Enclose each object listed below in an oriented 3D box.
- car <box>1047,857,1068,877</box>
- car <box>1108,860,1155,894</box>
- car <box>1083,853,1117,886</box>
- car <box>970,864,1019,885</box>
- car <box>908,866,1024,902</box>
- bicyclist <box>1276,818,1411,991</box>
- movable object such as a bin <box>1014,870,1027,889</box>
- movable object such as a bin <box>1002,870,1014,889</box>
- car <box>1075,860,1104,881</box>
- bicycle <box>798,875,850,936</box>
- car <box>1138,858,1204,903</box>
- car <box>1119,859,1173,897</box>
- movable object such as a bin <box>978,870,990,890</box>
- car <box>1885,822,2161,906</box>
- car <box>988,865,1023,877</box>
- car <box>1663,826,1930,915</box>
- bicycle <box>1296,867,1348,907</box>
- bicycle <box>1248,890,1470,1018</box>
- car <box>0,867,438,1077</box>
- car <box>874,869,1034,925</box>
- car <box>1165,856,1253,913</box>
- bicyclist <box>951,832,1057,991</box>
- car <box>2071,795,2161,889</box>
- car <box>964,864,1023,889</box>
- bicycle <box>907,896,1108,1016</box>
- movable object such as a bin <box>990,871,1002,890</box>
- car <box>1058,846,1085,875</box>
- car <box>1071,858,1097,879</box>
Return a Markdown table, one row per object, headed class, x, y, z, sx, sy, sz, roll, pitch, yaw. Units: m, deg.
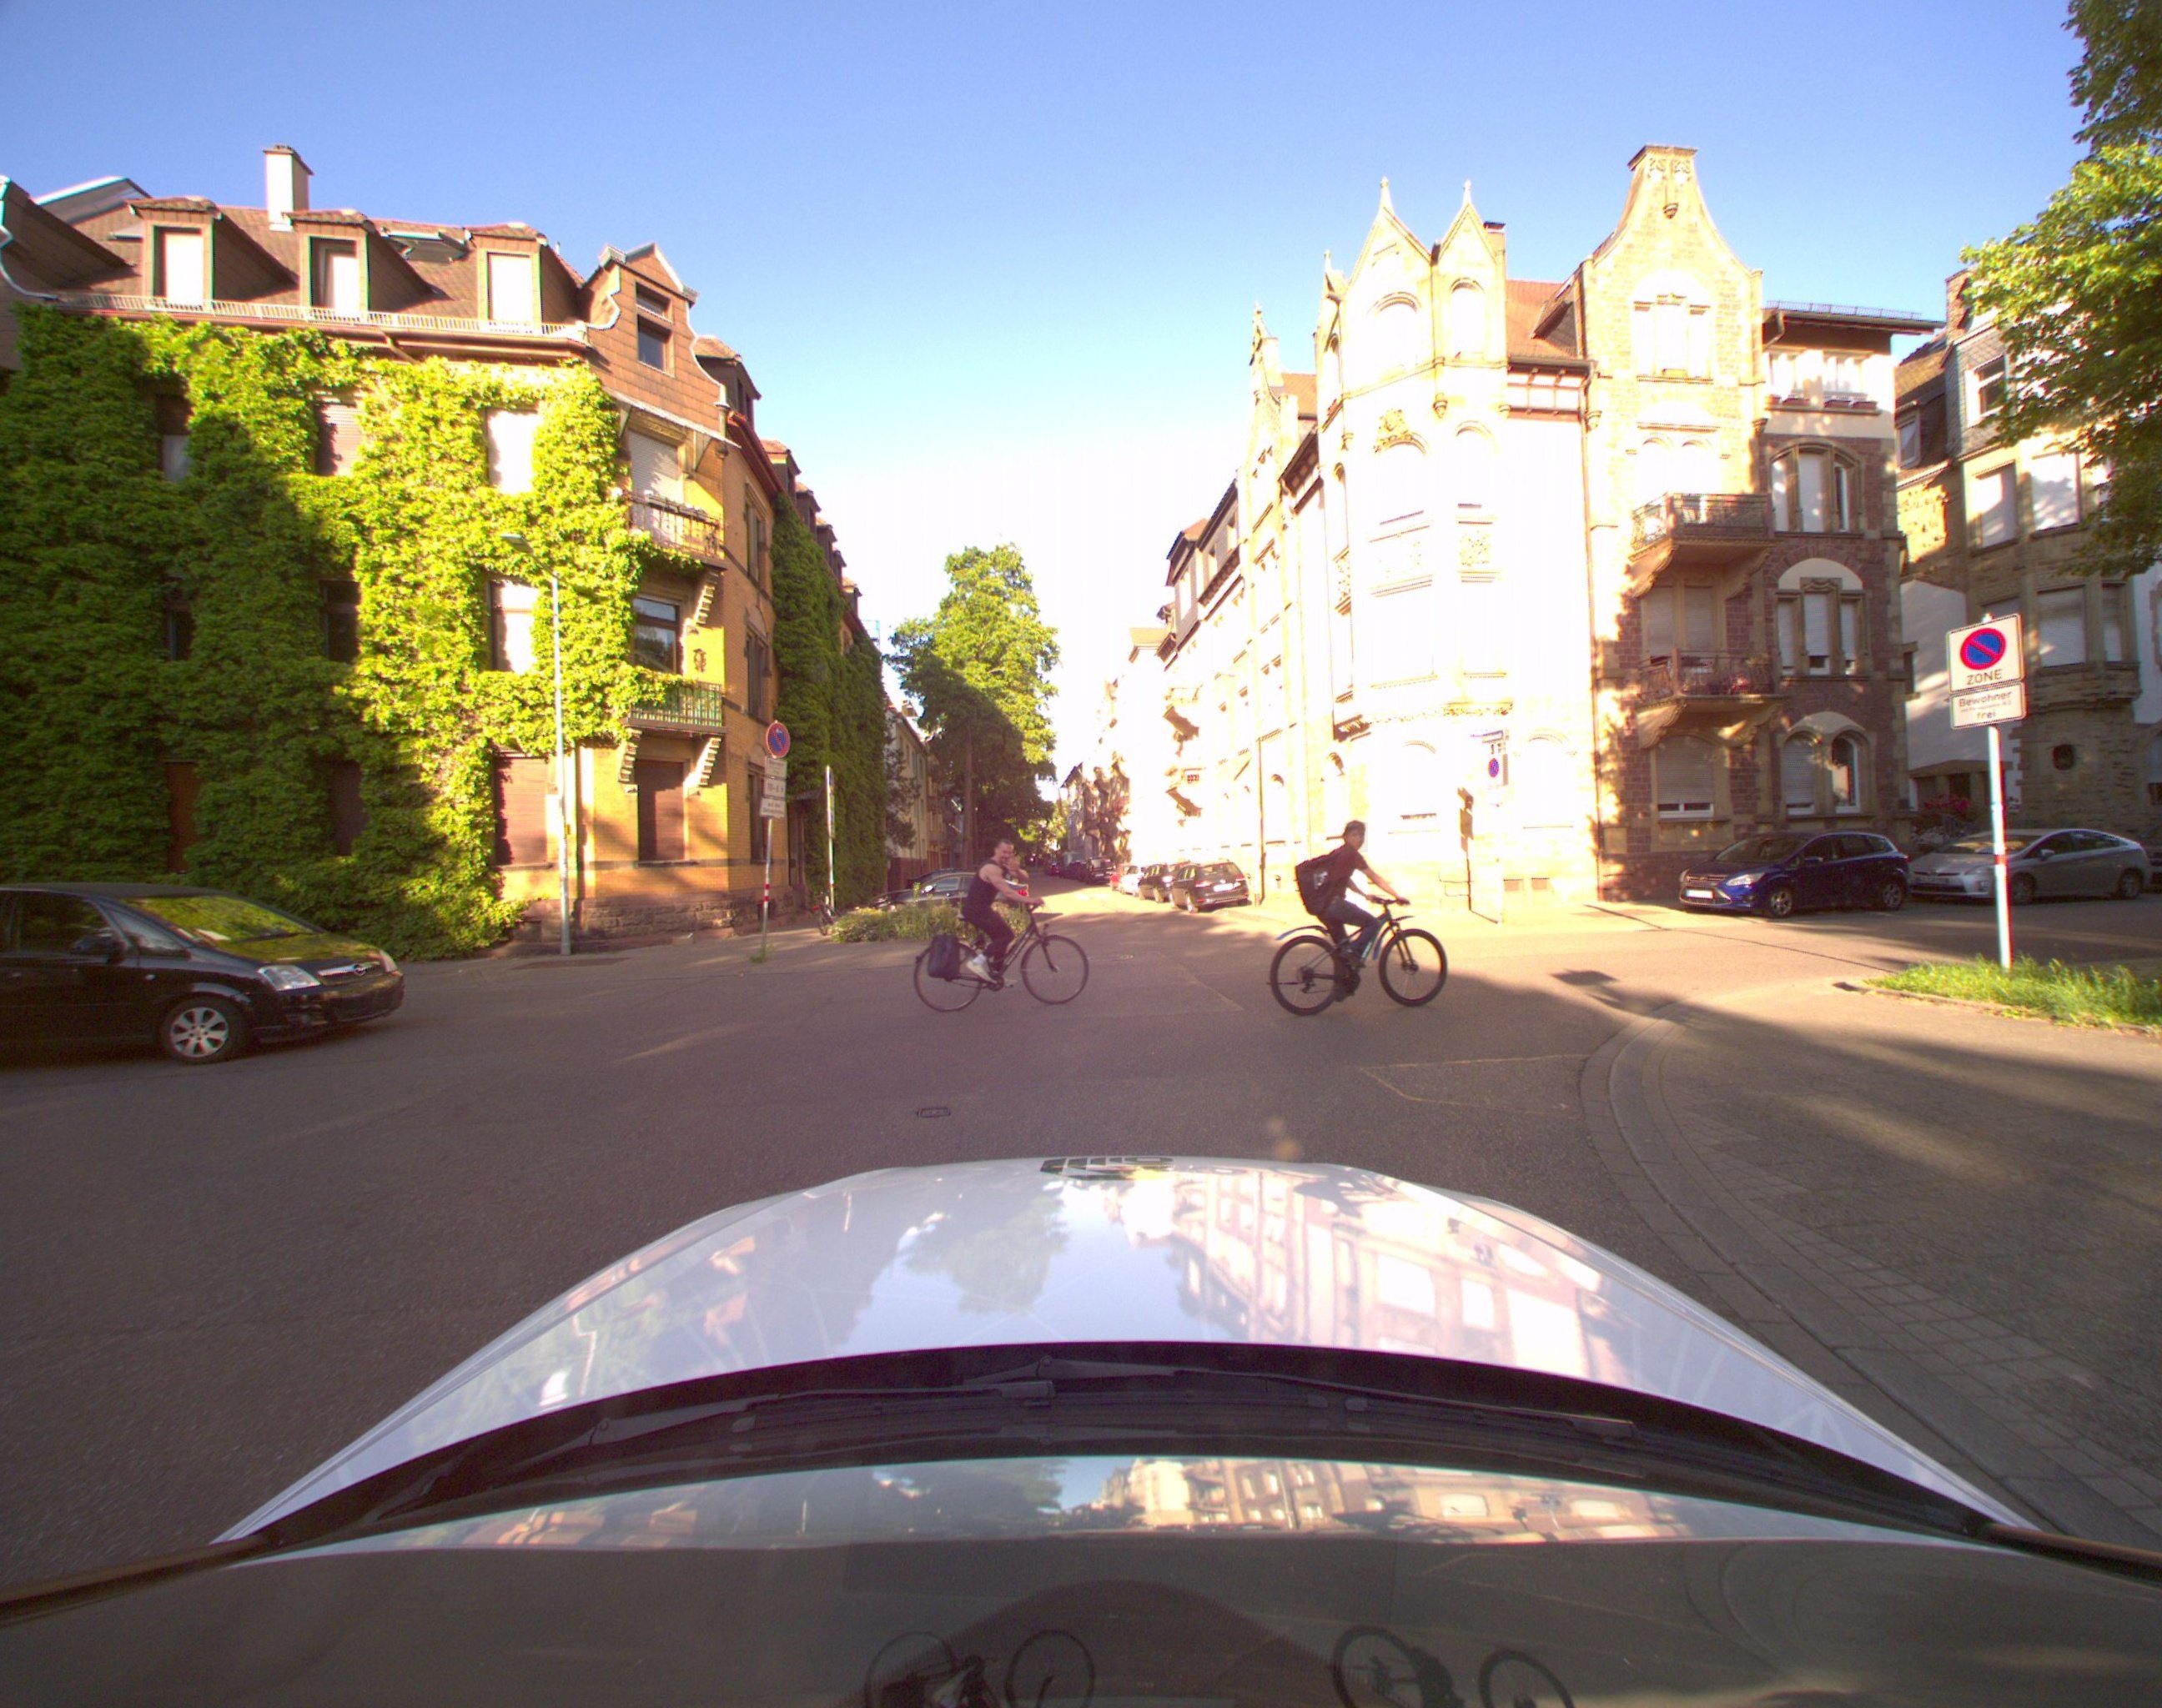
| class | x | y | z | sx | sy | sz | roll | pitch | yaw |
| --- | --- | --- | --- | --- | --- | --- | --- | --- | --- |
| car | -2.831 | 1.489 | 95.735 | 2.163 | 2.237 | 4.781 | -1 | -1 | -5 |
| car | 2.484 | 1.111 | 40.888 | 1.735 | 1.581 | 3.992 | -1 | -1 | -5 |
| car | 1.199 | 1.008 | 53.533 | 1.800 | 2.004 | 3.992 | -1 | -1 | -5 |
| car | -6.856 | 1.625 | 64.557 | 3.799 | 1.575 | 1.705 | -1 | -1 | -8 |
| car | -4.912 | 1.283 | 35.214 | 4.831 | 1.435 | 1.706 | -1 | -1 | -8 |
| bicyclist | 2.443 | 0.444 | 7.653 | 0.968 | 1.527 | 0.719 | -1 | -1 | -9 |
| movable object such as a bin | -3.468 | 1.444 | 46.659 | 0.629 | 1.053 | 0.566 | -1 | -1 | -12 |
| movable object such as a bin | -4.165 | 1.439 | 46.557 | 0.629 | 1.053 | 0.566 | -1 | -1 | -12 |
| car | 0.627 | 1.262 | 61.724 | 1.800 | 1.514 | 3.992 | -1 | -1 | -5 |
| bicycle | -5.834 | 1.142 | 18.568 | 0.561 | 1.268 | 1.603 | -2 | 0 | 2 |
| car | 3.364 | 0.978 | 31.074 | 1.735 | 1.581 | 3.992 | -1 | -1 | -5 |
| car | 2.830 | 1.051 | 36.392 | 1.735 | 1.581 | 3.992 | -1 | -1 | -5 |
| movable object such as a bin | -5.510 | 1.482 | 46.309 | 0.598 | 1.153 | 0.485 | -1 | -1 | -12 |
| car | 19.431 | 0.172 | 16.858 | 4.441 | 1.499 | 1.729 | -2 | 1 | -10 |
| car | -8.446 | 1.876 | 90.521 | 3.799 | 1.240 | 1.705 | -1 | -1 | -8 |
| car | 14.115 | 0.282 | 16.146 | 4.245 | 1.622 | 1.729 | -1 | 0 | -10 |
| bicycle | 6.362 | 0.854 | 21.570 | 0.515 | 0.998 | 1.567 | -1 | -1 | -17 |
| bicycle | 2.614 | 0.915 | 7.701 | 1.961 | 1.072 | 0.555 | -1 | 2 | -9 |
| car | -8.721 | 1.013 | 7.514 | 4.006 | 1.590 | 1.645 | -2 | 1 | -9 |
| car | -3.517 | 1.170 | 22.966 | 4.240 | 1.435 | 1.995 | -1 | -1 | -8 |
| car | 3.814 | 0.897 | 24.980 | 1.735 | 1.581 | 3.992 | -1 | -1 | -5 |
| bicyclist | -0.802 | 0.556 | 8.331 | 0.970 | 1.527 | 0.705 | -1 | -1 | -15 |
| car | 24.870 | -0.324 | 17.937 | 4.484 | 1.974 | 1.968 | -2 | 1 | -10 |
| car | -5.875 | 1.485 | 54.578 | 3.801 | 1.575 | 1.704 | -1 | -1 | -10 |
| bicycle | -0.769 | 1.002 | 8.345 | 1.965 | 1.073 | 0.695 | -1 | -1 | -14 |
| movable object such as a bin | -4.853 | 1.488 | 46.385 | 0.629 | 1.053 | 0.566 | -1 | -1 | -12 |
| car | -0.970 | 0.636 | 78.739 | 2.163 | 2.691 | 4.781 | -1 | -1 | -5 |
| car | 0.183 | 1.194 | 68.390 | 1.800 | 1.679 | 3.992 | -1 | -1 | -5 |
